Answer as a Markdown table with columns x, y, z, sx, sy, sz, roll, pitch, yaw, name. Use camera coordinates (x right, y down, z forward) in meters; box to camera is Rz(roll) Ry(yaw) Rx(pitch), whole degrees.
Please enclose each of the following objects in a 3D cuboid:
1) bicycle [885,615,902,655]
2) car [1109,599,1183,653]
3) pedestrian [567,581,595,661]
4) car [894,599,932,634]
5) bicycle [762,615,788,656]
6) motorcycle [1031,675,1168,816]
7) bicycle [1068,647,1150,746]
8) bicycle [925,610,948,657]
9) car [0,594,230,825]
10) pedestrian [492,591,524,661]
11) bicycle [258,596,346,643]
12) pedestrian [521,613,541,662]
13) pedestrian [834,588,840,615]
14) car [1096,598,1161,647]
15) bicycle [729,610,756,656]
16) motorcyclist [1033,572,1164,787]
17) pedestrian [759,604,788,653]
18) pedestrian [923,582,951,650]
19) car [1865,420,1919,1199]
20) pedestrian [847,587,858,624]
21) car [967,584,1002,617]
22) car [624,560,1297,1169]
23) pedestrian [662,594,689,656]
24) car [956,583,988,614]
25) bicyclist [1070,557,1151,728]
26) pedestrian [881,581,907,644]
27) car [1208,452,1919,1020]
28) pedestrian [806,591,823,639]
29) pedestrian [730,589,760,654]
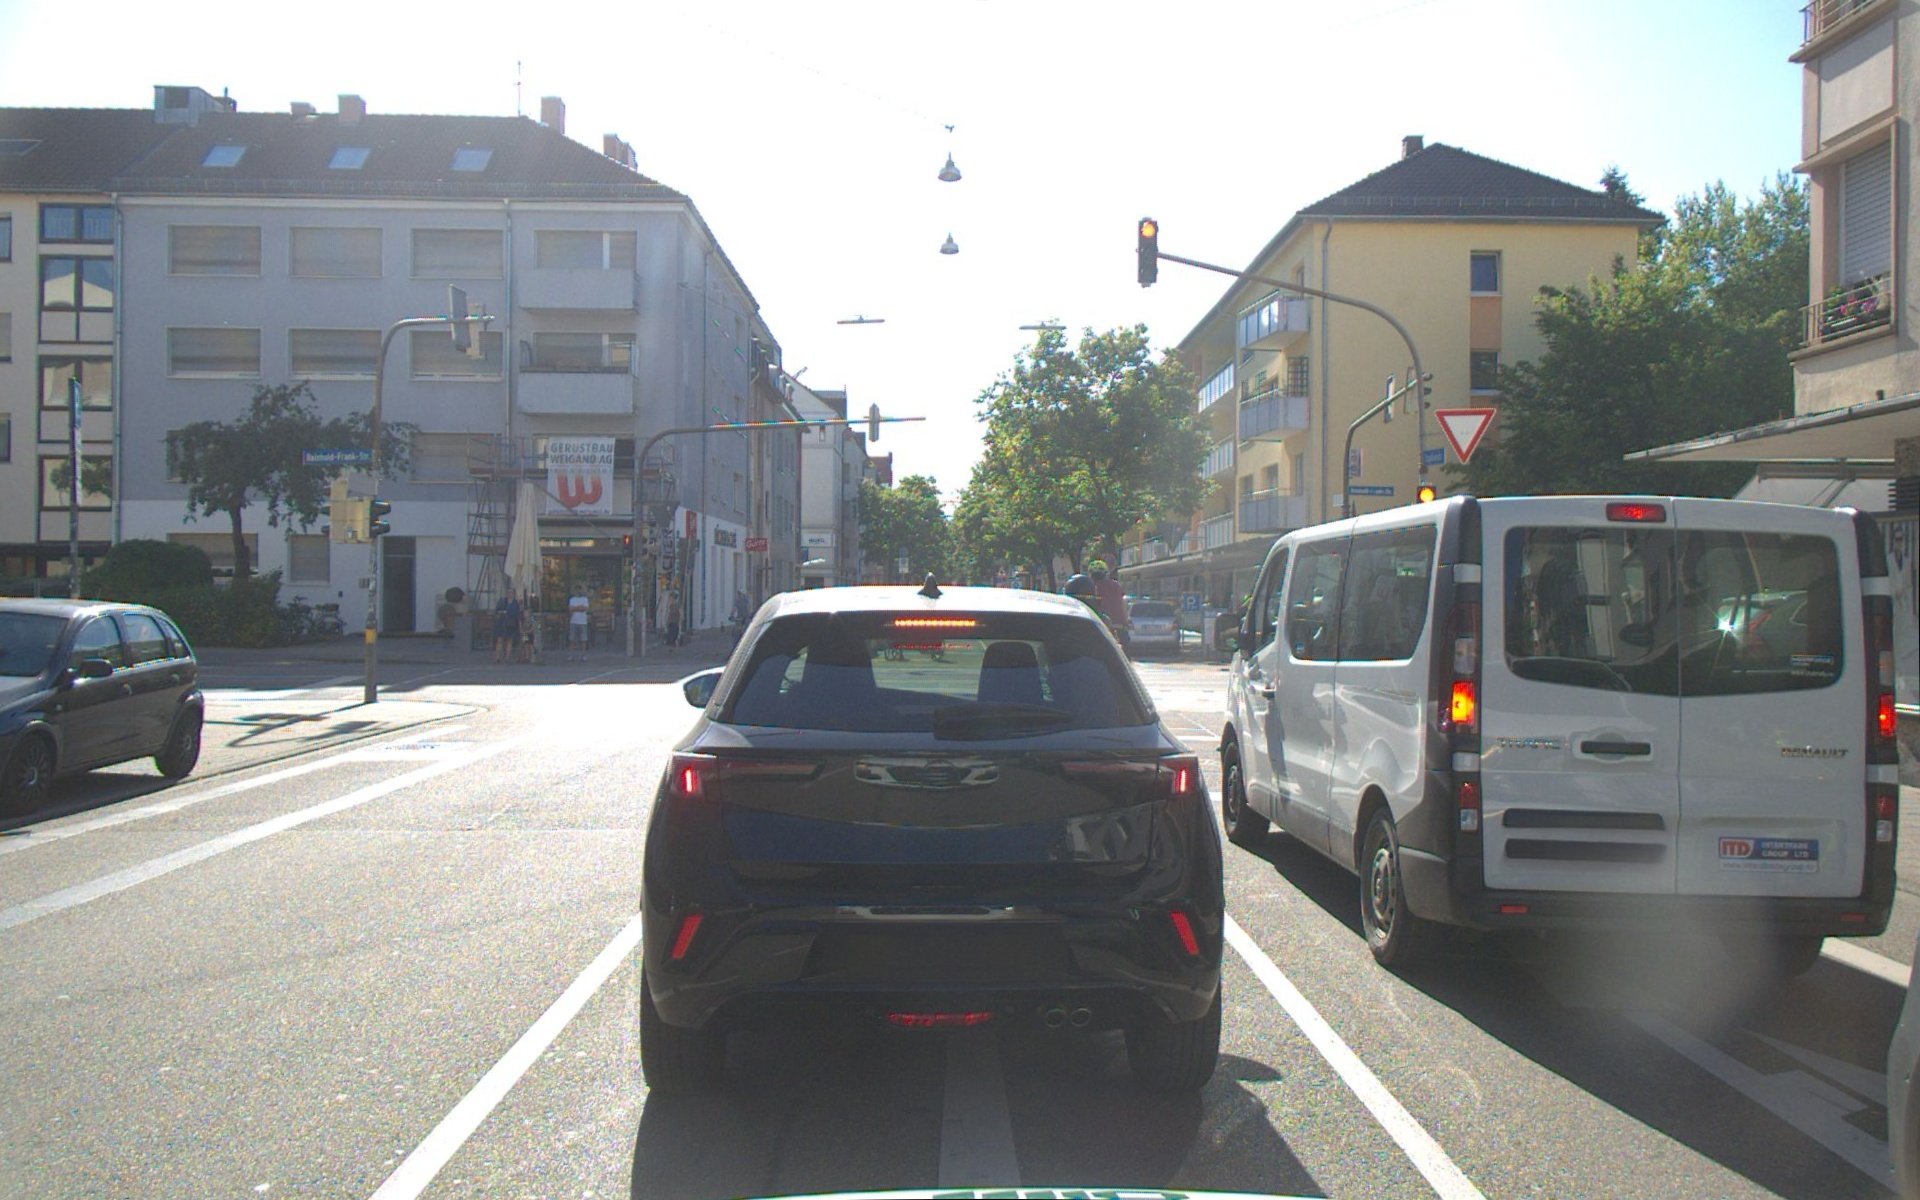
| x | y | z | sx | sy | sz | roll | pitch | yaw | name |
| --- | --- | --- | --- | --- | --- | --- | --- | --- | --- |
| -1.771 | 0.928 | 43.988 | 0.434 | 1.010 | 2.068 | 0 | 0 | -3 | bicycle |
| 5.277 | 0.719 | 47.308 | 1.601 | 1.458 | 3.956 | 0 | 0 | -1 | car |
| -8.690 | 0.482 | 37.925 | 0.550 | 1.806 | 0.582 | 1 | 0 | -9 | pedestrian |
| -2.415 | 0.815 | 85.461 | 1.787 | 1.758 | 4.000 | 0 | 0 | 1 | car |
| -4.897 | 0.926 | 43.891 | 0.511 | 1.010 | 2.338 | 0 | 0 | -3 | bicycle |
| 0.985 | 1.030 | 12.135 | 0.808 | 0.860 | 1.884 | 0 | 0 | -1 | motorcycle |
| 1.572 | 1.000 | 17.728 | 0.565 | 0.920 | 2.300 | 0 | 0 | -3 | bicycle |
| -0.606 | 0.855 | 42.583 | 0.511 | 1.167 | 2.169 | 0 | 0 | -3 | bicycle |
| -7.083 | 0.714 | 12.399 | 1.584 | 1.450 | 3.709 | 2 | 0 | -1 | car |
| -10.181 | 0.580 | 37.259 | 0.573 | 1.547 | 0.649 | 0 | 0 | -4 | pedestrian |
| -16.895 | 0.493 | 42.480 | 2.067 | 1.193 | 0.735 | 0 | 0 | -25 | bicycle |
| -9.691 | 0.842 | 37.341 | 0.348 | 1.111 | 0.461 | 0 | 0 | -4 | pedestrian |
| -7.612 | 0.084 | 102.400 | 0.394 | 1.704 | 0.417 | 0 | 0 | -1 | pedestrian |
| 5.261 | 0.672 | 51.995 | 1.601 | 1.458 | 3.999 | 0 | 0 | -1 | car |
| -5.749 | 0.871 | 43.865 | 0.511 | 1.167 | 2.282 | 0 | 0 | -3 | bicycle |
| 1.012 | 0.566 | 12.386 | 0.846 | 1.528 | 1.159 | 0 | 0 | -2 | motorcyclist |
| -4.894 | 0.736 | 43.458 | 0.692 | 1.275 | 0.802 | 0 | 0 | -3 | pedestrian |
| -0.605 | 0.399 | 42.643 | 0.692 | 1.731 | 0.802 | 0 | 0 | -3 | pedestrian |
| 3.015 | 0.585 | 1.239 | 1.799 | 1.901 | 4.994 | 0 | 0 | -2 | car |
| -5.003 | 0.250 | 77.200 | 0.478 | 1.719 | 0.588 | 0 | 0 | -1 | pedestrian |
| 1.323 | 0.012 | 89.312 | 1.863 | 1.758 | 4.073 | 0 | 0 | 0 | car |
| -0.077 | 0.673 | 6.275 | 1.735 | 1.557 | 3.998 | 0 | 0 | -3 | car |
| -7.161 | 0.629 | 41.662 | 0.605 | 1.547 | 0.724 | 0 | 0 | -4 | pedestrian |
| 0.691 | -0.088 | 97.871 | 1.863 | 1.758 | 4.000 | 0 | 0 | 0 | car |
| 1.585 | 0.437 | 17.601 | 0.675 | 1.742 | 1.413 | 0 | 0 | -3 | bicyclist |
| -1.744 | 0.327 | 43.817 | 0.666 | 1.634 | 0.762 | 0 | 0 | -3 | pedestrian |
| 2.713 | 0.499 | 8.528 | 1.953 | 2.013 | 4.894 | 2 | 0 | -2 | car |
| -5.216 | 0.528 | 59.155 | 0.558 | 1.719 | 0.588 | 0 | 0 | -1 | pedestrian |
| -5.653 | 0.559 | 43.480 | 0.692 | 1.707 | 0.802 | 0 | 0 | -3 | pedestrian |
